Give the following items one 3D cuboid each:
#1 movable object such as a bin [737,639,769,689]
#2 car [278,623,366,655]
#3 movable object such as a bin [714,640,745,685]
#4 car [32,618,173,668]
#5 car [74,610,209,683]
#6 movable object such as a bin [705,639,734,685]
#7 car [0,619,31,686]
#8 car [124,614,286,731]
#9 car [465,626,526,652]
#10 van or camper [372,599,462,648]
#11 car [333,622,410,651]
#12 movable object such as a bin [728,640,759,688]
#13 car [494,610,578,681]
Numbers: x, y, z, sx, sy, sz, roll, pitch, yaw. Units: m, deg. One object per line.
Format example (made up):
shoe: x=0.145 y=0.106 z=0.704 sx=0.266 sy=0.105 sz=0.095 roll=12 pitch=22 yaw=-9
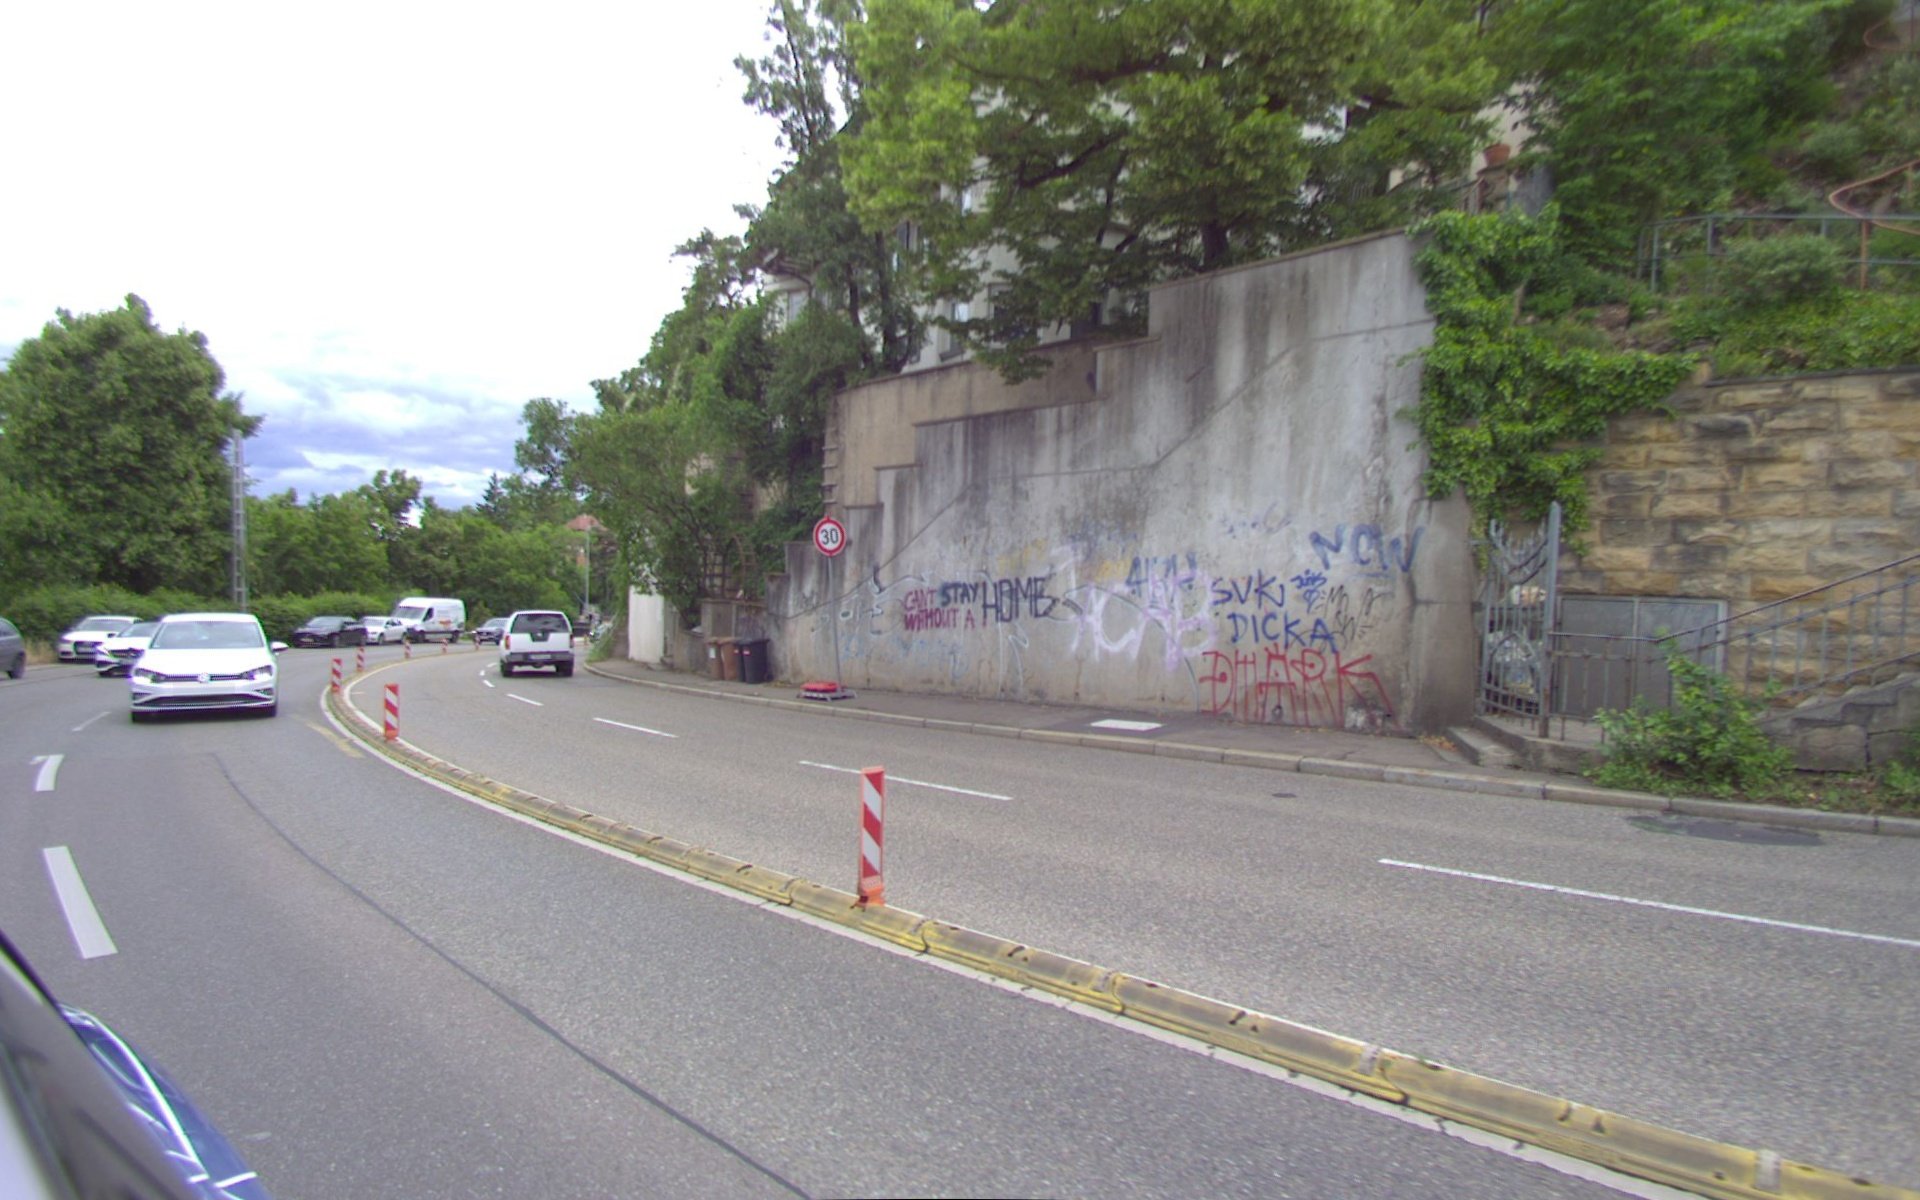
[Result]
movable object such as a bin: x=-4.198 y=1.291 z=20.512 sx=0.519 sy=0.970 sz=0.461 roll=1 pitch=-2 yaw=-33
car: x=-29.881 y=1.802 z=47.544 sx=1.904 sy=1.444 sz=4.105 roll=0 pitch=-1 yaw=-7
movable object such as a bin: x=-4.983 y=1.348 z=21.831 sx=0.519 sy=0.938 sz=0.483 roll=1 pitch=-2 yaw=-33
car: x=-26.500 y=1.321 z=31.464 sx=1.901 sy=1.444 sz=4.012 roll=1 pitch=-2 yaw=-17
car: x=-21.227 y=1.192 z=26.431 sx=1.965 sy=1.731 sz=4.012 roll=3 pitch=-3 yaw=-29
movable object such as a bin: x=-5.290 y=1.356 z=22.255 sx=0.519 sy=0.970 sz=0.431 roll=1 pitch=-2 yaw=-33
car: x=-21.775 y=1.132 z=21.751 sx=1.902 sy=1.444 sz=4.011 roll=1 pitch=-2 yaw=-32
car: x=-11.947 y=1.033 z=16.050 sx=1.797 sy=1.592 sz=4.365 roll=2 pitch=-2 yaw=-37
car: x=-27.946 y=2.312 z=61.006 sx=1.875 sy=1.505 sz=4.142 roll=0 pitch=-1 yaw=-1
van or camper: x=-31.395 y=1.362 z=58.699 sx=2.236 sy=2.648 sz=5.419 roll=0 pitch=-1 yaw=1
car: x=-30.725 y=1.865 z=52.986 sx=1.848 sy=1.444 sz=4.102 roll=0 pitch=-1 yaw=-3
movable object such as a bin: x=-4.491 y=1.316 z=21.010 sx=0.519 sy=0.970 sz=0.401 roll=1 pitch=-2 yaw=-33
car: x=-12.247 y=1.252 z=29.034 sx=1.965 sy=1.842 sz=5.162 roll=0 pitch=-2 yaw=-25
